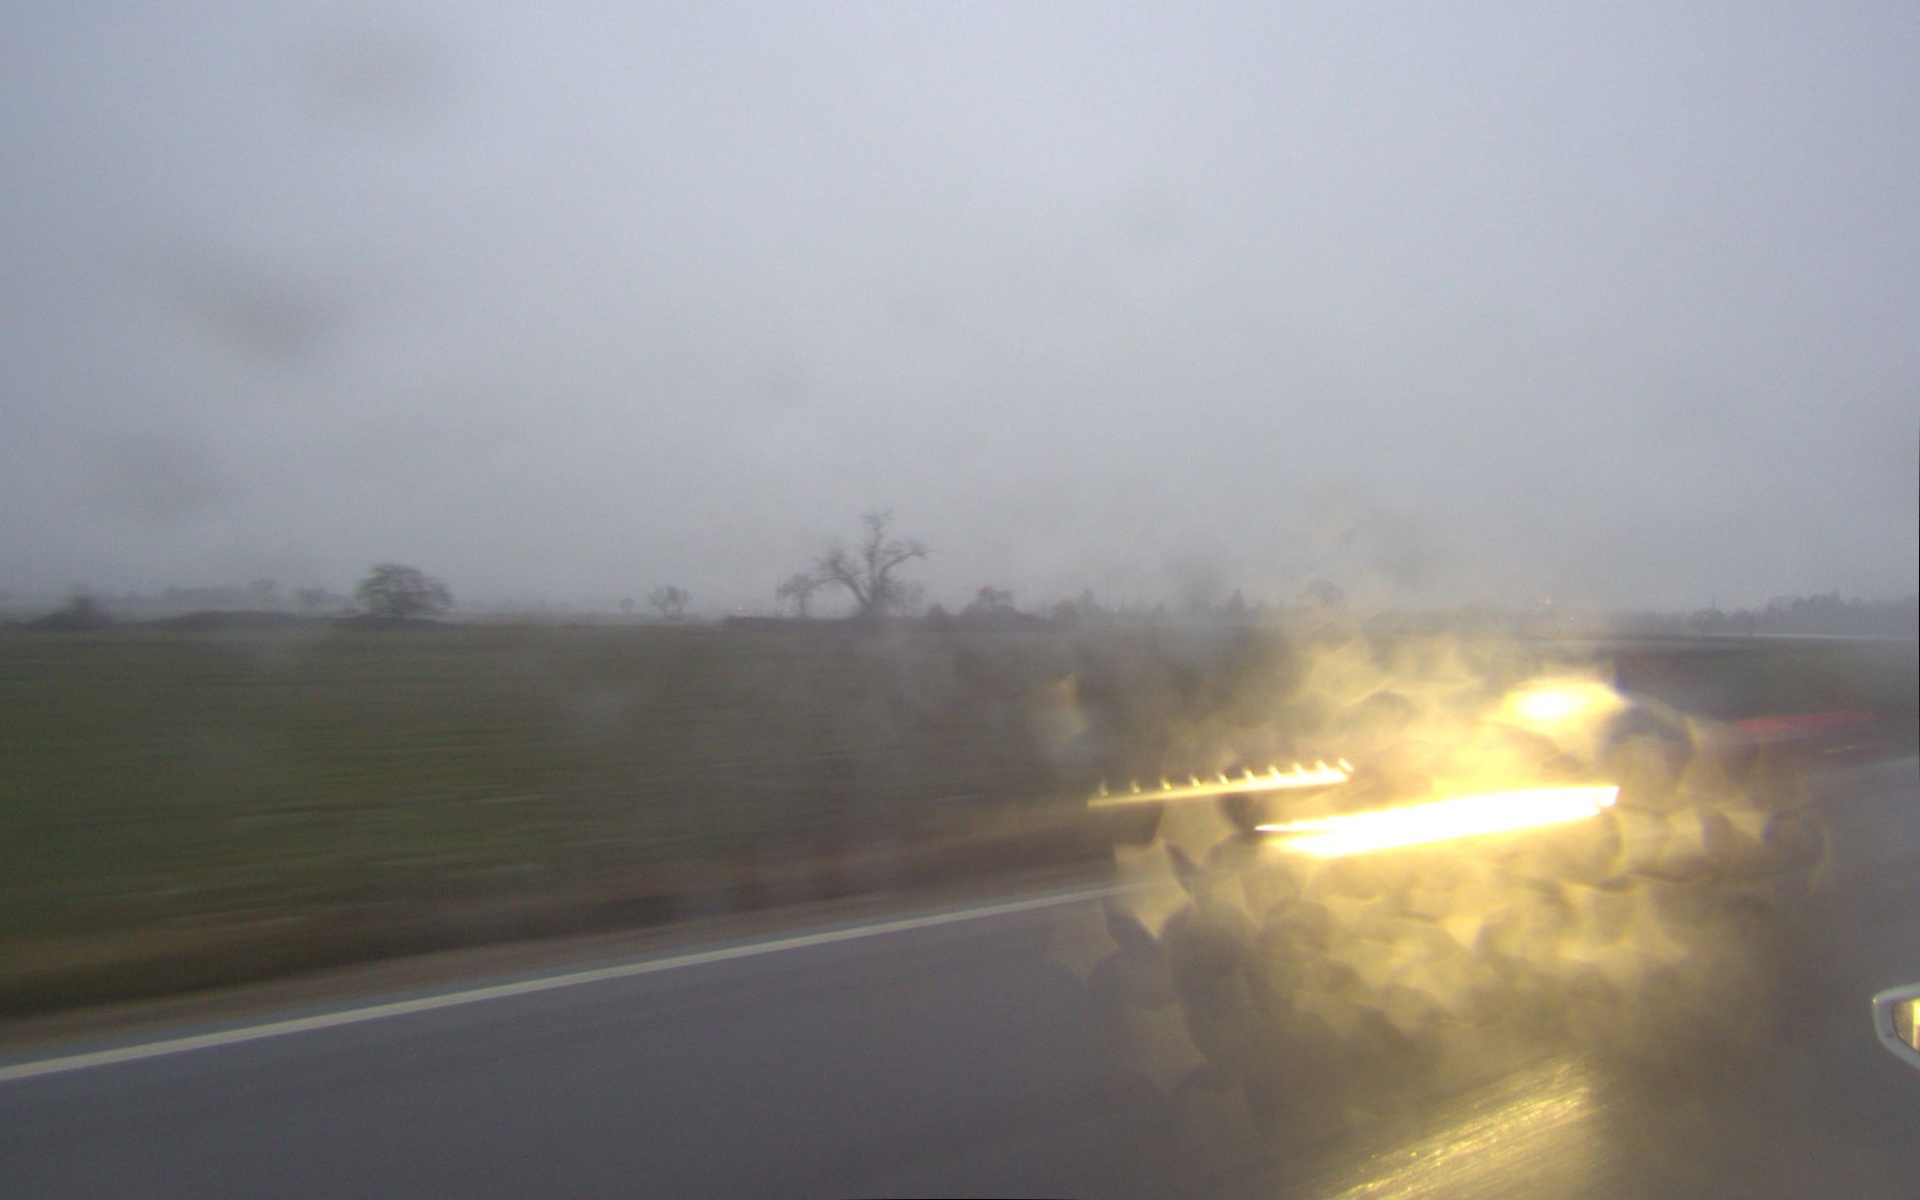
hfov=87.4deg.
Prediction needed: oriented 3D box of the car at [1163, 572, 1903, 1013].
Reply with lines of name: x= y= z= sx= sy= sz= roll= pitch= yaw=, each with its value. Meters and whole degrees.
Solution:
car: x=3.327 y=0.814 z=5.647 sx=4.211 sy=1.667 sz=1.721 roll=1 pitch=-4 yaw=-30
